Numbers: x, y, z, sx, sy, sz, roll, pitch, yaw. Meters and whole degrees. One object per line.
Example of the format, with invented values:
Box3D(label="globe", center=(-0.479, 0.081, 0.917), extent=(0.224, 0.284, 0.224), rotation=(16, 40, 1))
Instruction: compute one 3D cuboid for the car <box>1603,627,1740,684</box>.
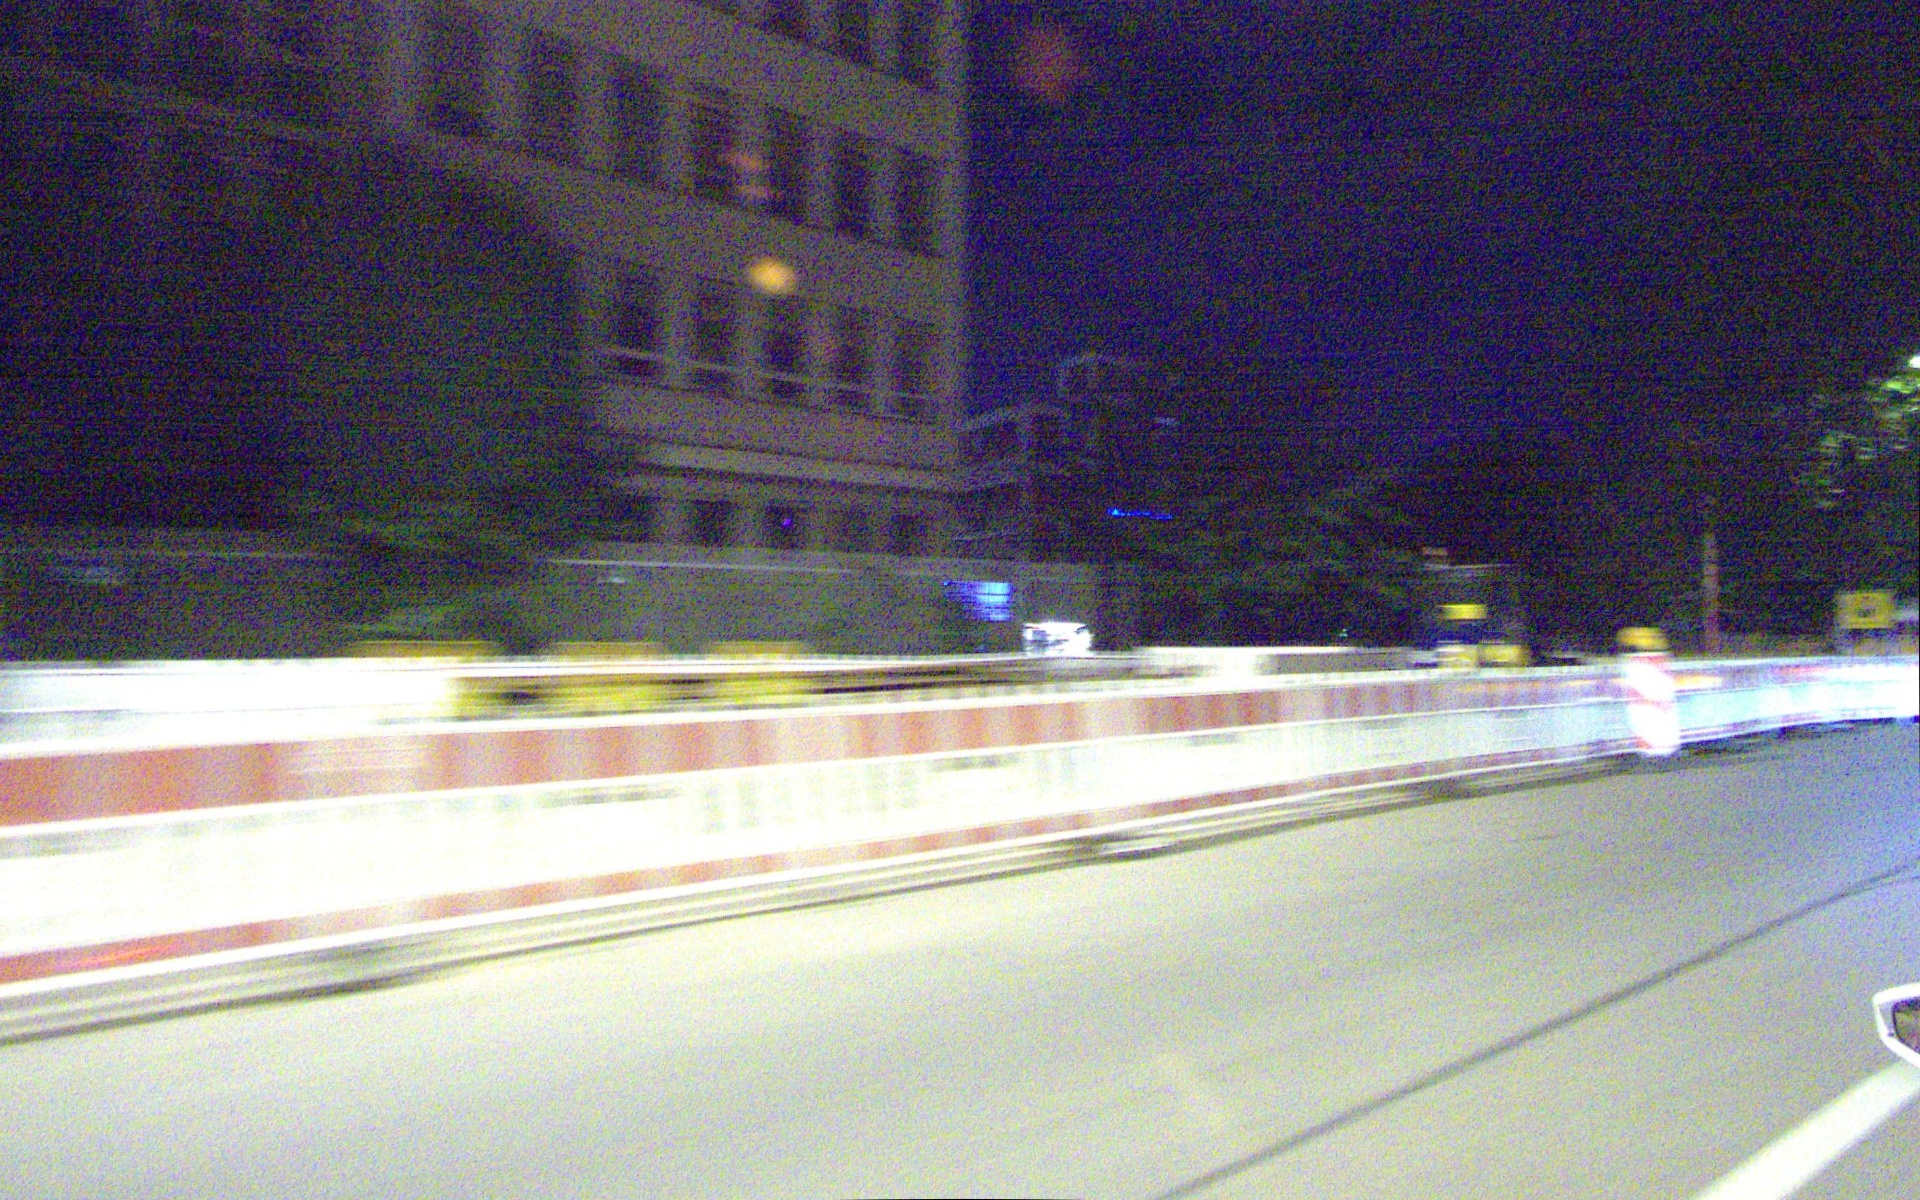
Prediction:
Box3D(label="car", center=(38.537, 2.950, 54.410), extent=(6.559, 2.879, 1.997), rotation=(0, -1, -10))

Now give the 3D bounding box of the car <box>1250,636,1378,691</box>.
Box3D(label="car", center=(17.638, 3.126, 50.113), extent=(5.772, 2.588, 1.997), rotation=(0, -1, -10))

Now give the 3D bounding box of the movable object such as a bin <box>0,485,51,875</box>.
Box3D(label="movable object such as a bin", center=(-7.467, 0.502, 5.929), extent=(1.528, 2.499, 2.831), rotation=(-3, -3, 35))

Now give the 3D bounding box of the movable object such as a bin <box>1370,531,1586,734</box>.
Box3D(label="movable object such as a bin", center=(8.040, 0.502, 15.476), extent=(3.672, 2.769, 1.557), rotation=(0, -4, -41))

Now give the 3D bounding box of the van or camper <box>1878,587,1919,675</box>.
Box3D(label="van or camper", center=(37.651, 1.157, 37.973), extent=(7.365, 3.134, 2.505), rotation=(1, -4, -33))
